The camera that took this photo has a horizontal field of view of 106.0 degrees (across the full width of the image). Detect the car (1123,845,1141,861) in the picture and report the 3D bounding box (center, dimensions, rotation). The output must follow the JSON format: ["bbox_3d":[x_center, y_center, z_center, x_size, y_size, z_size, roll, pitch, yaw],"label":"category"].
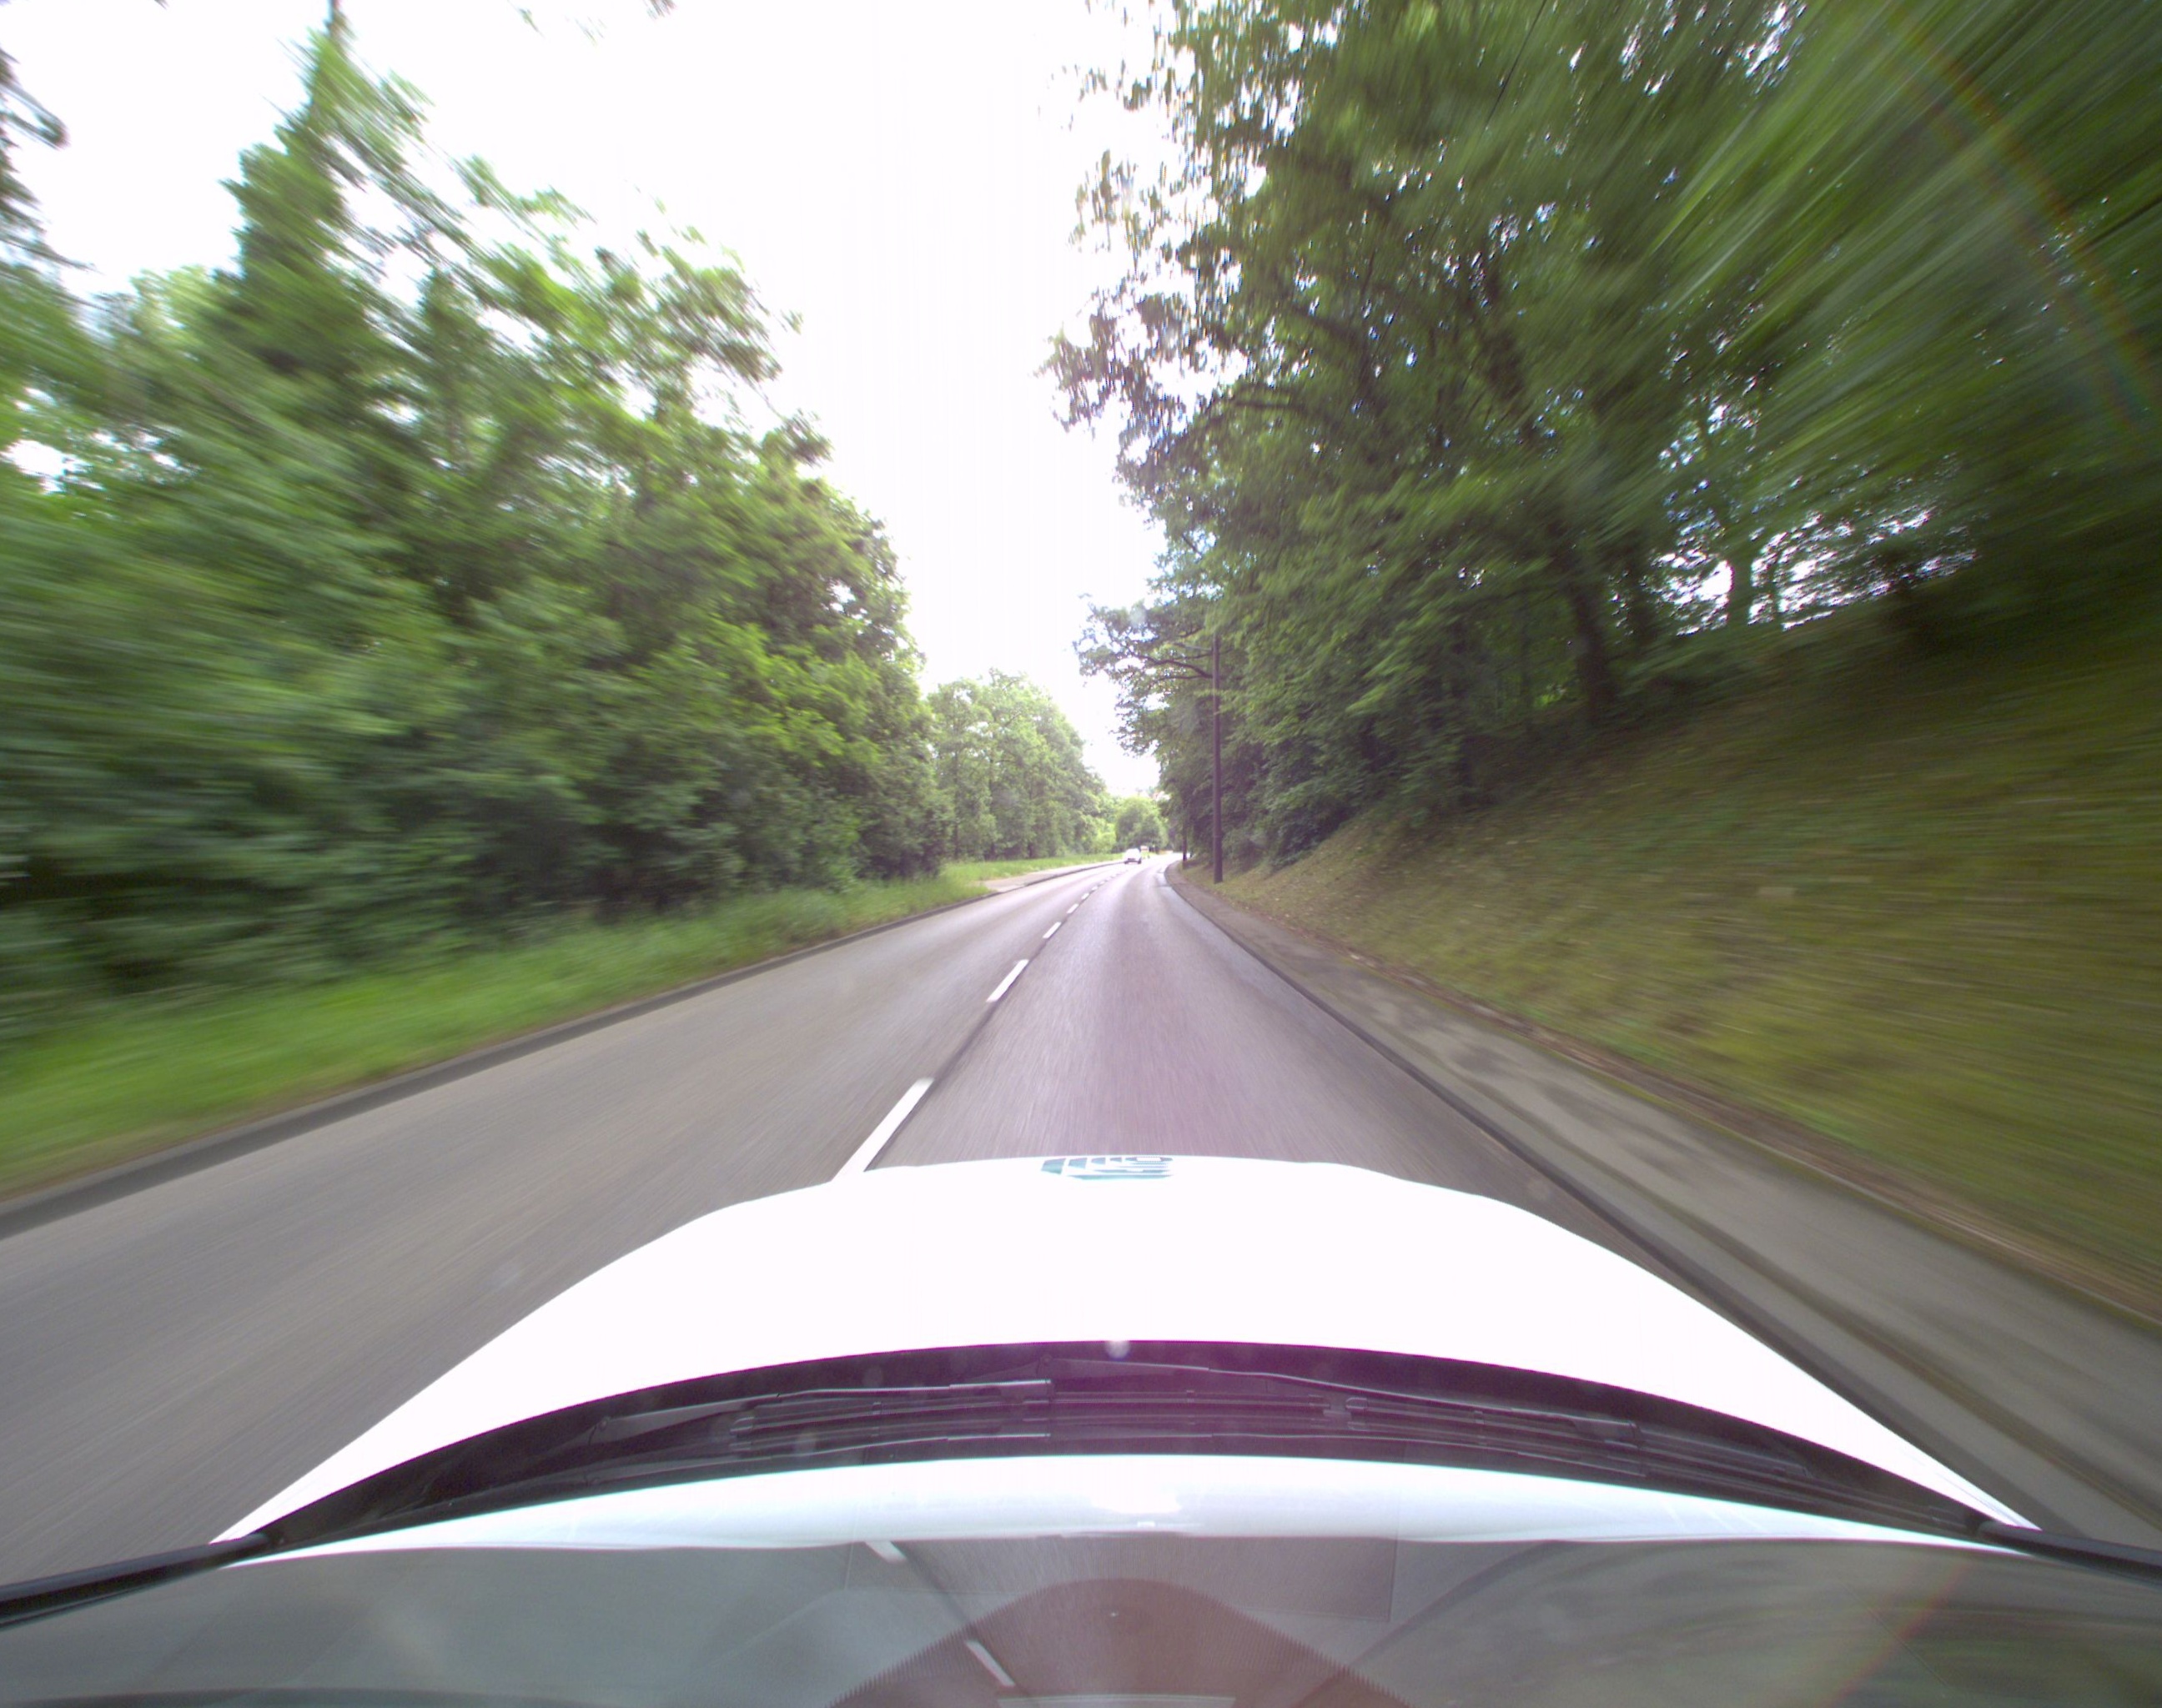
[{"bbox_3d":[6.067,-0.103,96.185,1.984,1.753,4.789,0,-1,5],"label":"car"}]
